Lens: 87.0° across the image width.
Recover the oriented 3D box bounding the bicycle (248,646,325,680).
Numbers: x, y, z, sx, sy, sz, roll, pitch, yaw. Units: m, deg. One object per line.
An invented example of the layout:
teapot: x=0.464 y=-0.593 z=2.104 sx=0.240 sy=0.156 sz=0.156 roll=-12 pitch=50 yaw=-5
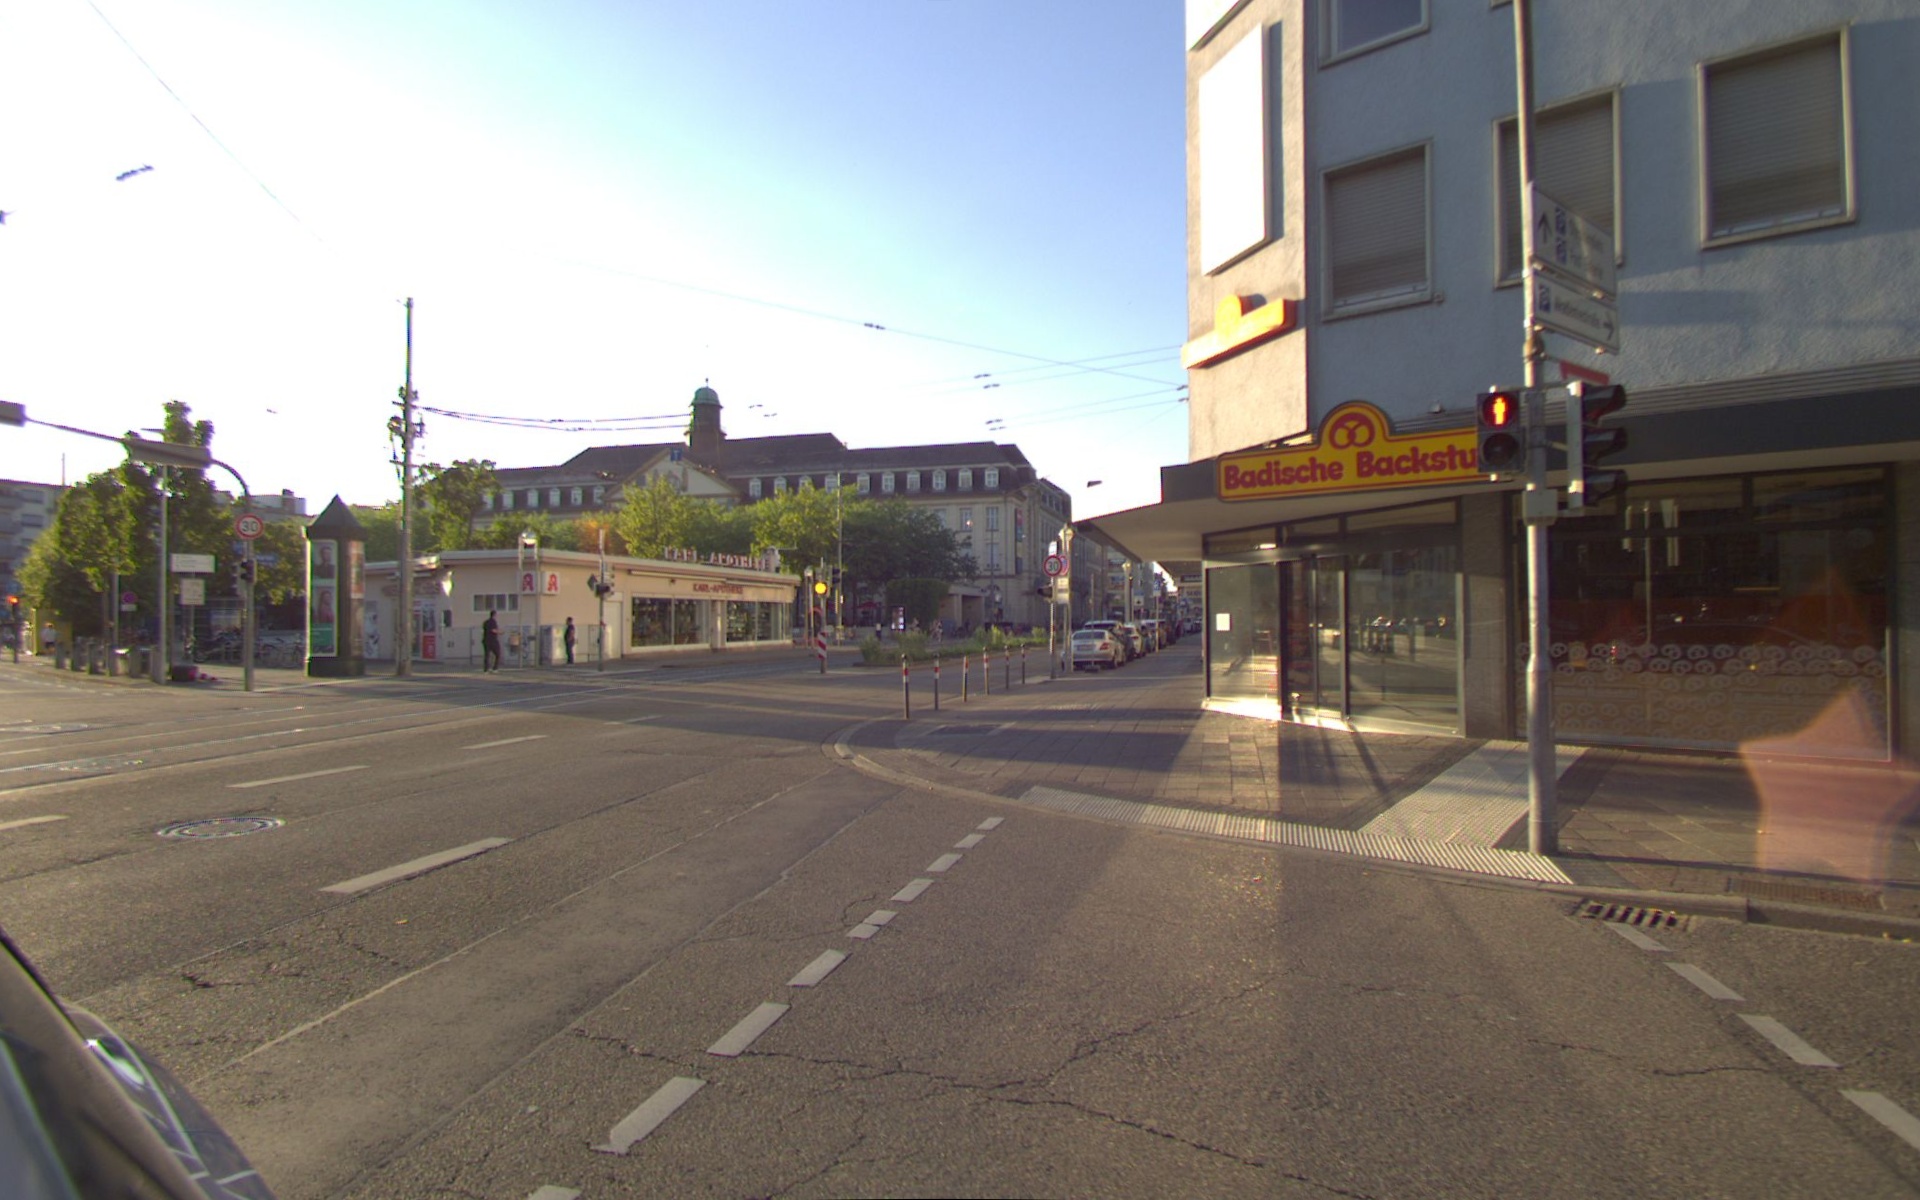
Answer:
bicycle: x=-24.090 y=2.229 z=36.249 sx=0.777 sy=1.096 sz=2.197 roll=-1 pitch=-1 yaw=33

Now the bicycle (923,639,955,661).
bicycle: x=-1.537 y=3.637 z=74.137 sx=2.378 sy=1.497 sz=0.618 roll=-1 pitch=0 yaw=-32

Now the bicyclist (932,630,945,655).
bicyclist: x=-1.574 y=3.110 z=74.122 sx=0.644 sy=1.724 sz=0.623 roll=-1 pitch=0 yaw=-32

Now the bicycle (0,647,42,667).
bicycle: x=-57.027 y=3.460 z=61.119 sx=2.366 sy=1.079 sz=0.673 roll=-1 pitch=0 yaw=-44

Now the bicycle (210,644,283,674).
bicycle: x=-27.733 y=2.281 z=39.365 sx=0.778 sy=1.096 sz=2.154 roll=-1 pitch=-2 yaw=39

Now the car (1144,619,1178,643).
car: x=15.441 y=2.368 z=77.556 sx=2.032 sy=1.750 sz=4.582 roll=-2 pitch=-2 yaw=18

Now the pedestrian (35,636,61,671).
pedestrian: x=-44.970 y=2.625 z=49.916 sx=0.766 sy=1.689 sz=0.909 roll=-1 pitch=0 yaw=-30

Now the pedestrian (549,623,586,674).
pedestrian: x=-13.324 y=1.647 z=34.352 sx=0.895 sy=1.689 sz=0.778 roll=-1 pitch=0 yaw=4

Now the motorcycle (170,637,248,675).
motorcycle: x=-30.484 y=2.260 z=41.115 sx=0.780 sy=1.376 sz=2.417 roll=-3 pitch=-1 yaw=44

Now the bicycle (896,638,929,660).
bicycle: x=-3.517 y=3.653 z=75.341 sx=2.458 sy=1.497 sz=0.595 roll=-1 pitch=0 yaw=-32

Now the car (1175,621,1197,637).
car: x=25.673 y=3.315 z=114.957 sx=2.032 sy=1.750 sz=4.582 roll=-2 pitch=-2 yaw=18

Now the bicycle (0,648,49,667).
bicycle: x=-55.726 y=3.423 z=60.098 sx=2.366 sy=0.966 sz=0.673 roll=-1 pitch=0 yaw=-44

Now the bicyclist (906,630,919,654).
bicyclist: x=-3.557 y=3.147 z=75.321 sx=0.776 sy=1.733 sz=0.595 roll=-1 pitch=0 yaw=-32

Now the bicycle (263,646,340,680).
bicycle: x=-23.155 y=2.191 z=35.627 sx=0.777 sy=1.096 sz=2.173 roll=-1 pitch=-1 yaw=33

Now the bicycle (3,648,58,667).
bicycle: x=-54.741 y=3.394 z=59.630 sx=2.366 sy=0.966 sz=0.673 roll=-1 pitch=0 yaw=-44

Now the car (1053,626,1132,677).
car: x=4.572 y=1.714 z=34.404 sx=1.786 sy=1.587 sz=4.273 roll=-2 pitch=-2 yaw=19

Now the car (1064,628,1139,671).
car: x=5.507 y=1.869 z=38.977 sx=2.032 sy=1.487 sz=4.581 roll=-2 pitch=-2 yaw=18

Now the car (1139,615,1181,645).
car: x=12.635 y=1.876 z=63.698 sx=2.032 sy=1.750 sz=4.582 roll=-2 pitch=-2 yaw=18

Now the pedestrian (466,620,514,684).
pedestrian: x=-13.637 y=1.500 z=29.358 sx=0.874 sy=1.798 sz=0.902 roll=-1 pitch=0 yaw=17

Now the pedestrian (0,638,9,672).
pedestrian: x=-48.366 y=2.760 z=50.749 sx=0.892 sy=1.689 sz=0.781 roll=-1 pitch=0 yaw=-39

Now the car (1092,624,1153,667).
car: x=7.316 y=1.983 z=45.231 sx=2.032 sy=1.750 sz=4.582 roll=-2 pitch=-2 yaw=18

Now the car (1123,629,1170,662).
car: x=10.694 y=2.564 z=57.853 sx=2.032 sy=1.750 sz=4.582 roll=-2 pitch=-2 yaw=18
